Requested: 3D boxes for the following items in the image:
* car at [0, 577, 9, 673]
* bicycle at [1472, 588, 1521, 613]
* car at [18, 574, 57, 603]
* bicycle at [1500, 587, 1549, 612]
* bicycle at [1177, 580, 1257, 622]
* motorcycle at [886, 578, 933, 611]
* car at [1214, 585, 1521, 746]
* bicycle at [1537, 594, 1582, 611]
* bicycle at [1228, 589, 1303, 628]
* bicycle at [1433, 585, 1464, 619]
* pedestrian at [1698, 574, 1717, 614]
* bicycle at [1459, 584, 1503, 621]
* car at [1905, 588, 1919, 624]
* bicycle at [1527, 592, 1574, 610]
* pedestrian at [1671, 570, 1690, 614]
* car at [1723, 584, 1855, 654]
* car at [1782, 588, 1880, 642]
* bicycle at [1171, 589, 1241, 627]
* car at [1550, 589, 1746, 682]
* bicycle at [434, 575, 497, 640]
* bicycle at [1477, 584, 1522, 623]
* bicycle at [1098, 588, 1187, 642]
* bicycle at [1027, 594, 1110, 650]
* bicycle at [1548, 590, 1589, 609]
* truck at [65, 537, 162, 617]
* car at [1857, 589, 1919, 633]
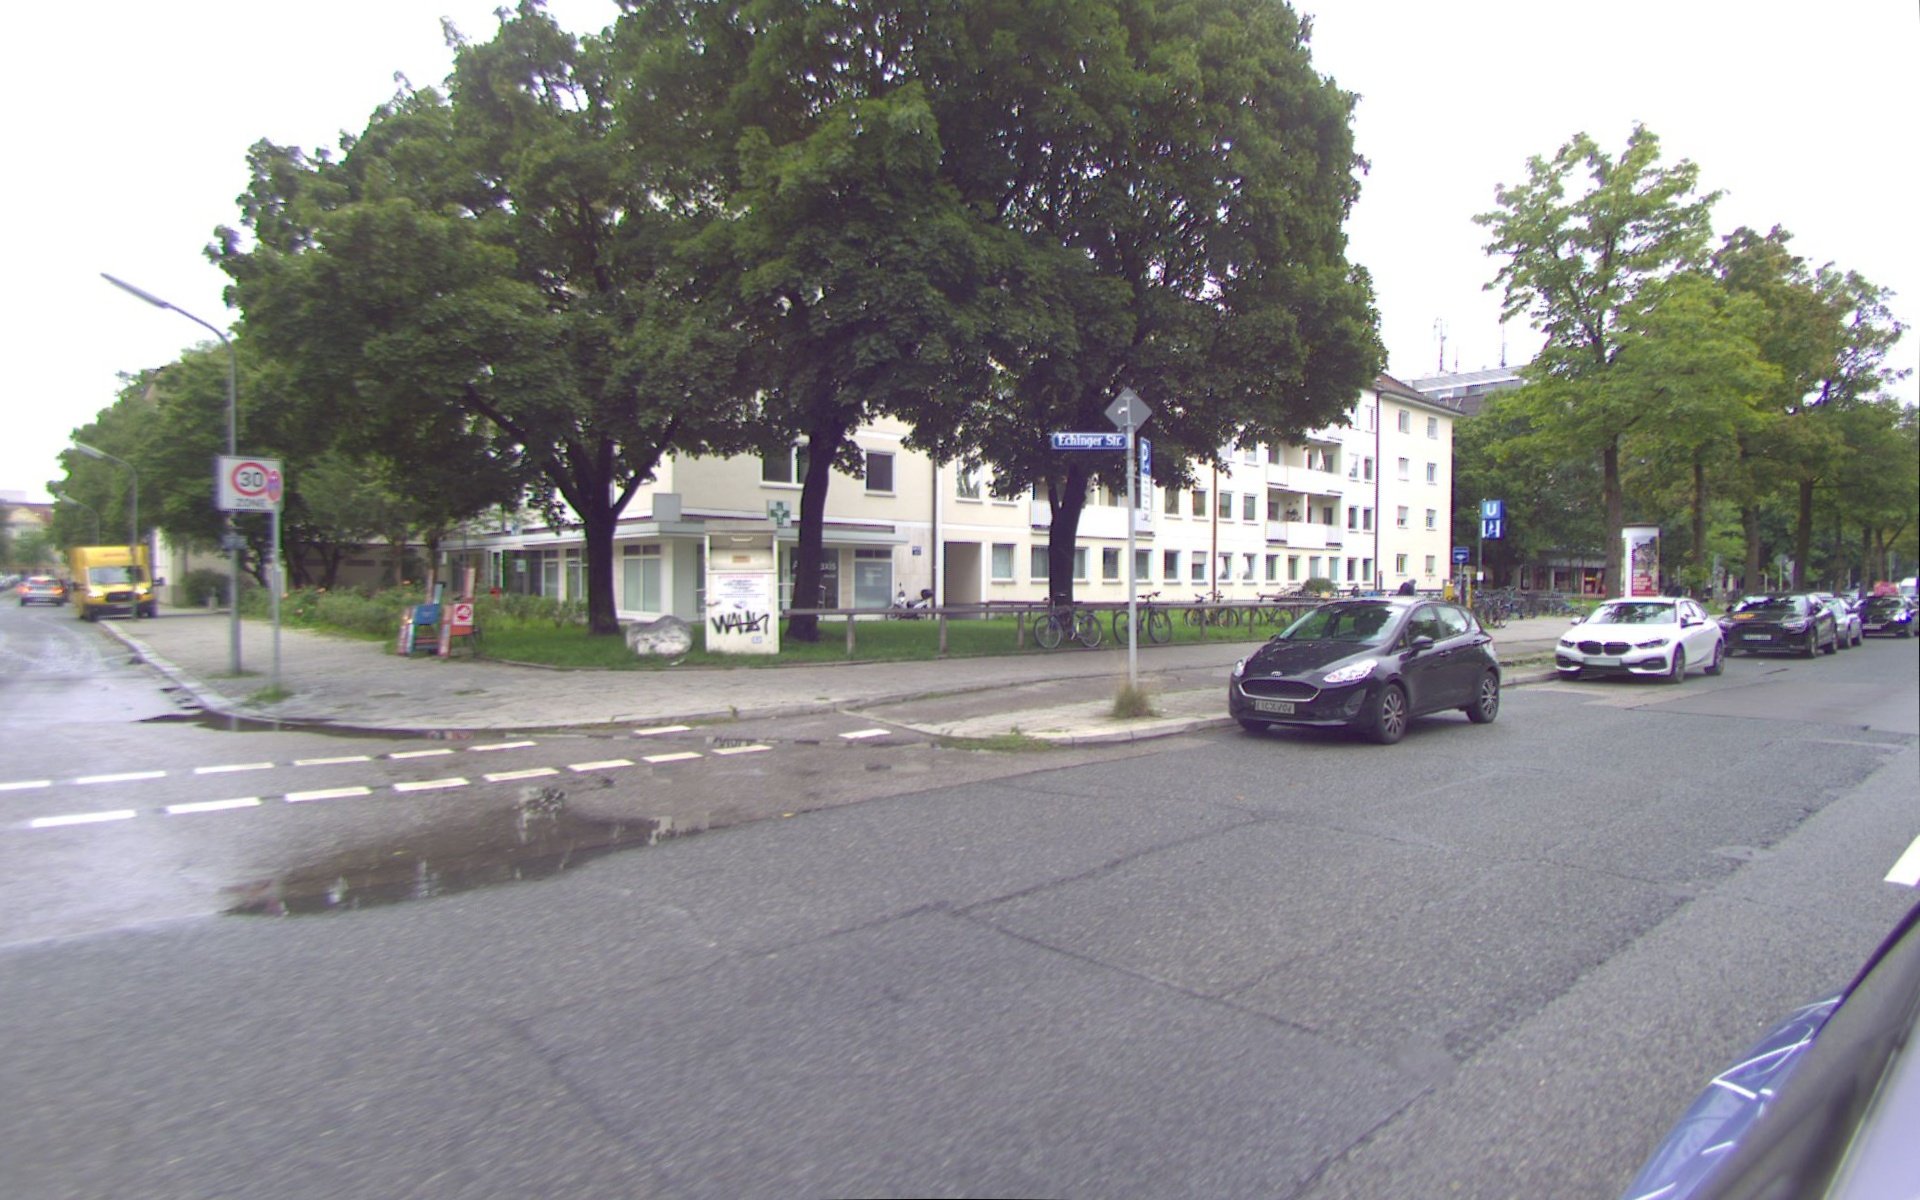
[{"bbox_3d":[-14.550,0.411,13.679,1.963,1.460,4.221,0,1,-36],"label":"car"},{"bbox_3d":[20.577,0.026,38.812,0.490,0.927,1.596,0,1,-44],"label":"bicycle"},{"bbox_3d":[-52.987,-0.674,58.164,1.572,1.639,3.762,-1,1,-41],"label":"car"},{"bbox_3d":[22.447,-0.023,40.259,0.490,0.927,1.596,0,2,-44],"label":"bicycle"},{"bbox_3d":[6.808,0.018,26.890,0.653,1.081,2.027,0,1,-44],"label":"bicycle"},{"bbox_3d":[-1.746,-0.195,35.070,1.593,1.134,0.606,-1,1,-40],"label":"motorcycle"},{"bbox_3d":[4.654,0.596,11.299,3.888,1.496,1.646,0,0,-42],"label":"car"},{"bbox_3d":[25.541,0.084,43.144,0.490,0.704,1.596,-1,1,-44],"label":"bicycle"},{"bbox_3d":[8.815,0.225,29.263,0.653,1.081,2.027,0,1,-44],"label":"bicycle"},{"bbox_3d":[16.634,0.054,34.444,1.231,1.130,0.466,0,1,-40],"label":"bicycle"},{"bbox_3d":[30.252,-0.239,40.960,0.555,1.625,0.515,0,0,30],"label":"pedestrian"},{"bbox_3d":[17.155,0.067,33.280,2.039,1.203,0.545,-1,1,-40],"label":"bicycle"},{"bbox_3d":[42.501,0.233,43.810,4.224,1.487,1.826,-1,1,-40],"label":"car"},{"bbox_3d":[24.927,0.051,42.739,0.490,0.645,1.596,0,4,-44],"label":"bicycle"},{"bbox_3d":[29.566,-0.338,41.538,0.555,1.777,0.651,0,0,30],"label":"pedestrian"},{"bbox_3d":[20.081,0.392,24.463,4.085,1.530,1.825,-1,1,-41],"label":"car"},{"bbox_3d":[24.498,0.377,28.423,3.859,1.397,1.615,-1,1,-42],"label":"car"},{"bbox_3d":[7.458,0.229,30.775,0.653,1.081,2.027,0,1,-44],"label":"bicycle"},{"bbox_3d":[12.429,0.568,18.189,4.212,1.455,1.824,-1,-1,-40],"label":"car"},{"bbox_3d":[-9.299,0.125,19.015,0.687,1.170,1.471,0,1,-42],"label":"bicycle"},{"bbox_3d":[17.092,0.083,32.031,2.039,1.203,0.545,-1,1,-40],"label":"bicycle"},{"bbox_3d":[3.729,0.303,20.725,1.731,1.068,0.471,-1,0,-11],"label":"bicycle"},{"bbox_3d":[2.105,0.405,19.437,1.820,1.028,0.448,-1,1,-40],"label":"bicycle"},{"bbox_3d":[26.100,-0.025,43.419,0.490,0.722,1.390,0,3,-44],"label":"bicycle"},{"bbox_3d":[-32.592,-0.891,38.874,2.240,2.805,6.749,-2,2,-45],"label":"truck"},{"bbox_3d":[32.239,0.327,34.656,4.227,1.397,1.825,-1,1,-42],"label":"car"}]
